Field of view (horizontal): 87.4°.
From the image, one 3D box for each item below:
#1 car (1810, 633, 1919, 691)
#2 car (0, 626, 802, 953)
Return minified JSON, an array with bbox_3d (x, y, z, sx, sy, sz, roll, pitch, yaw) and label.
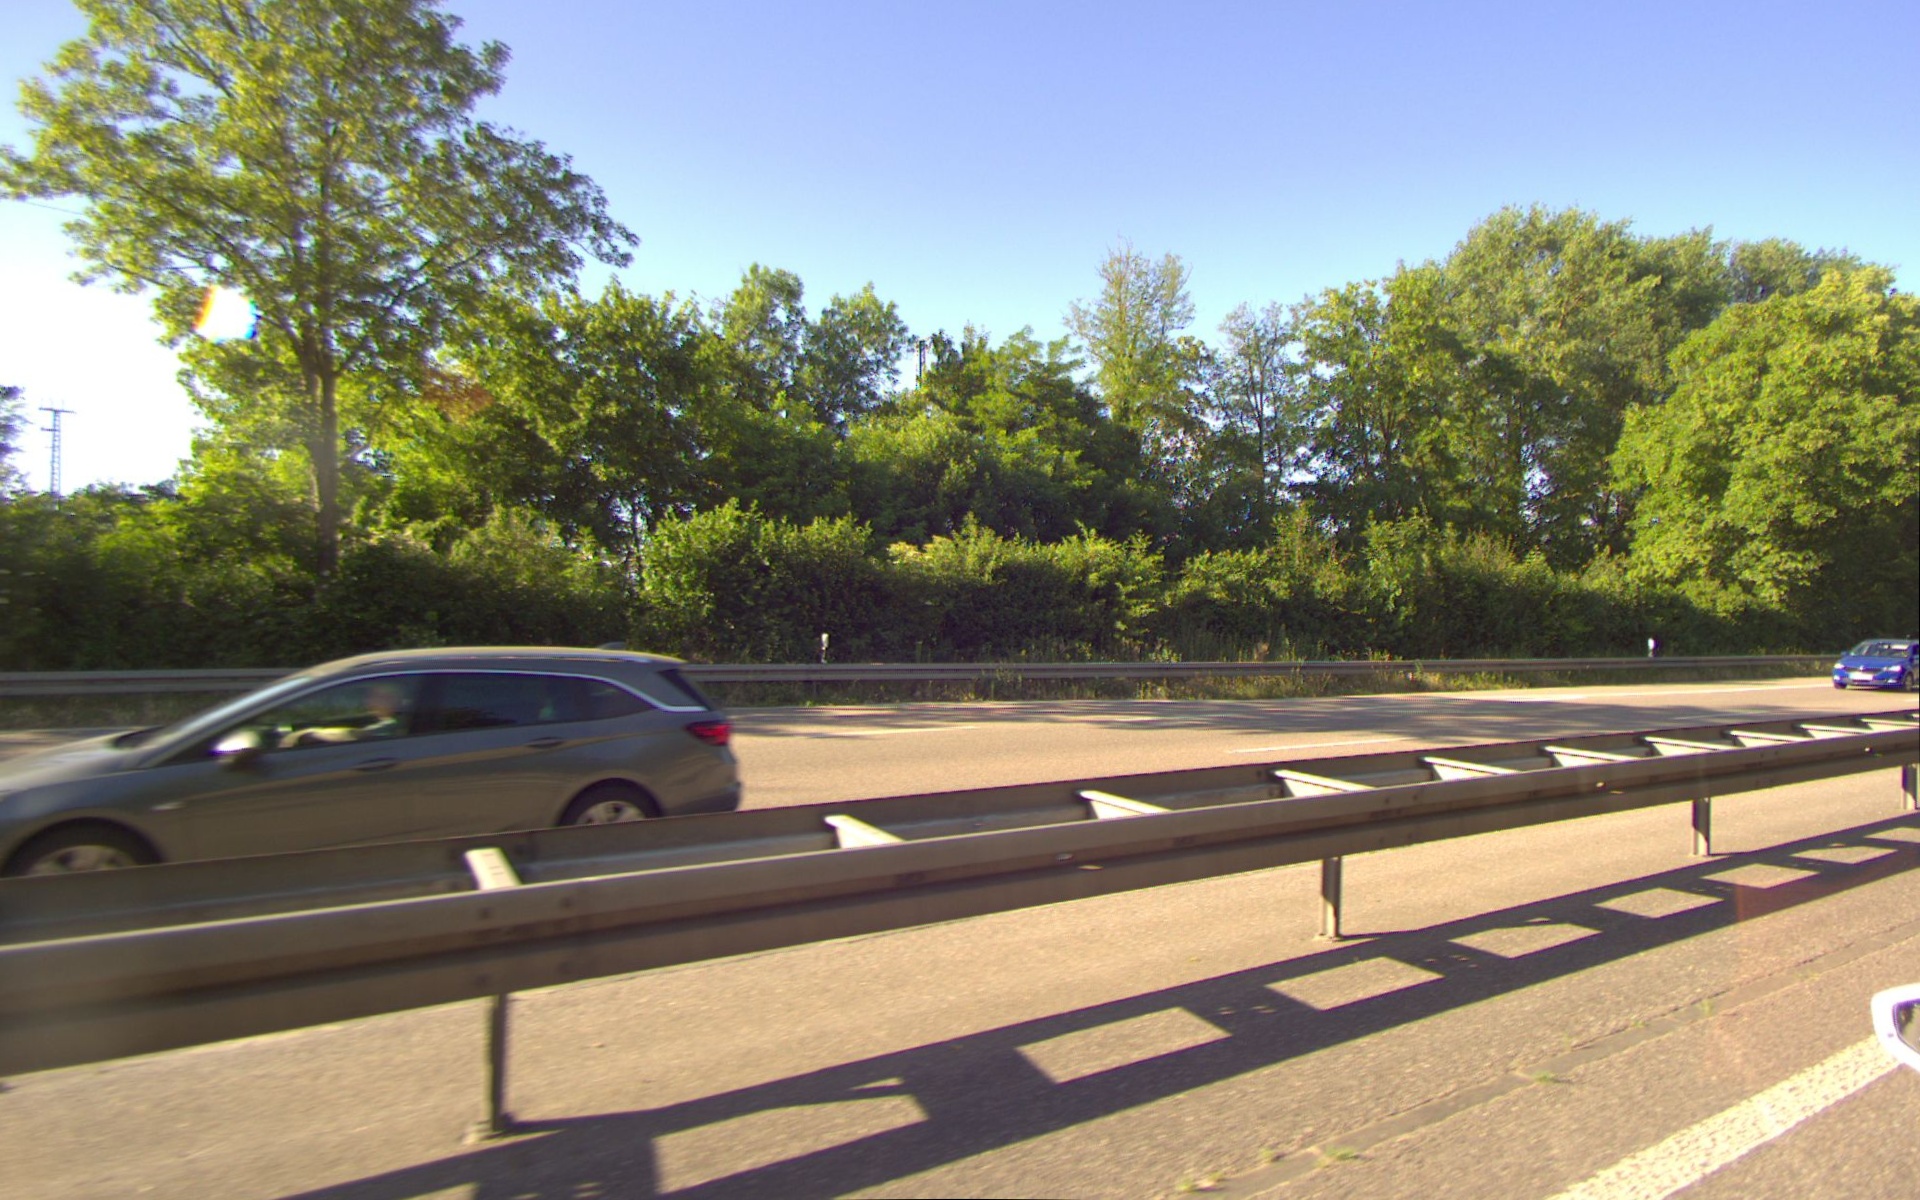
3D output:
[{"bbox_3d":[27.257,1.786,29.759,4.379,1.561,1.827,1,-1,-31],"label":"car"},{"bbox_3d":[-3.499,0.986,6.790,4.413,1.561,1.951,1,0,-31],"label":"car"}]
